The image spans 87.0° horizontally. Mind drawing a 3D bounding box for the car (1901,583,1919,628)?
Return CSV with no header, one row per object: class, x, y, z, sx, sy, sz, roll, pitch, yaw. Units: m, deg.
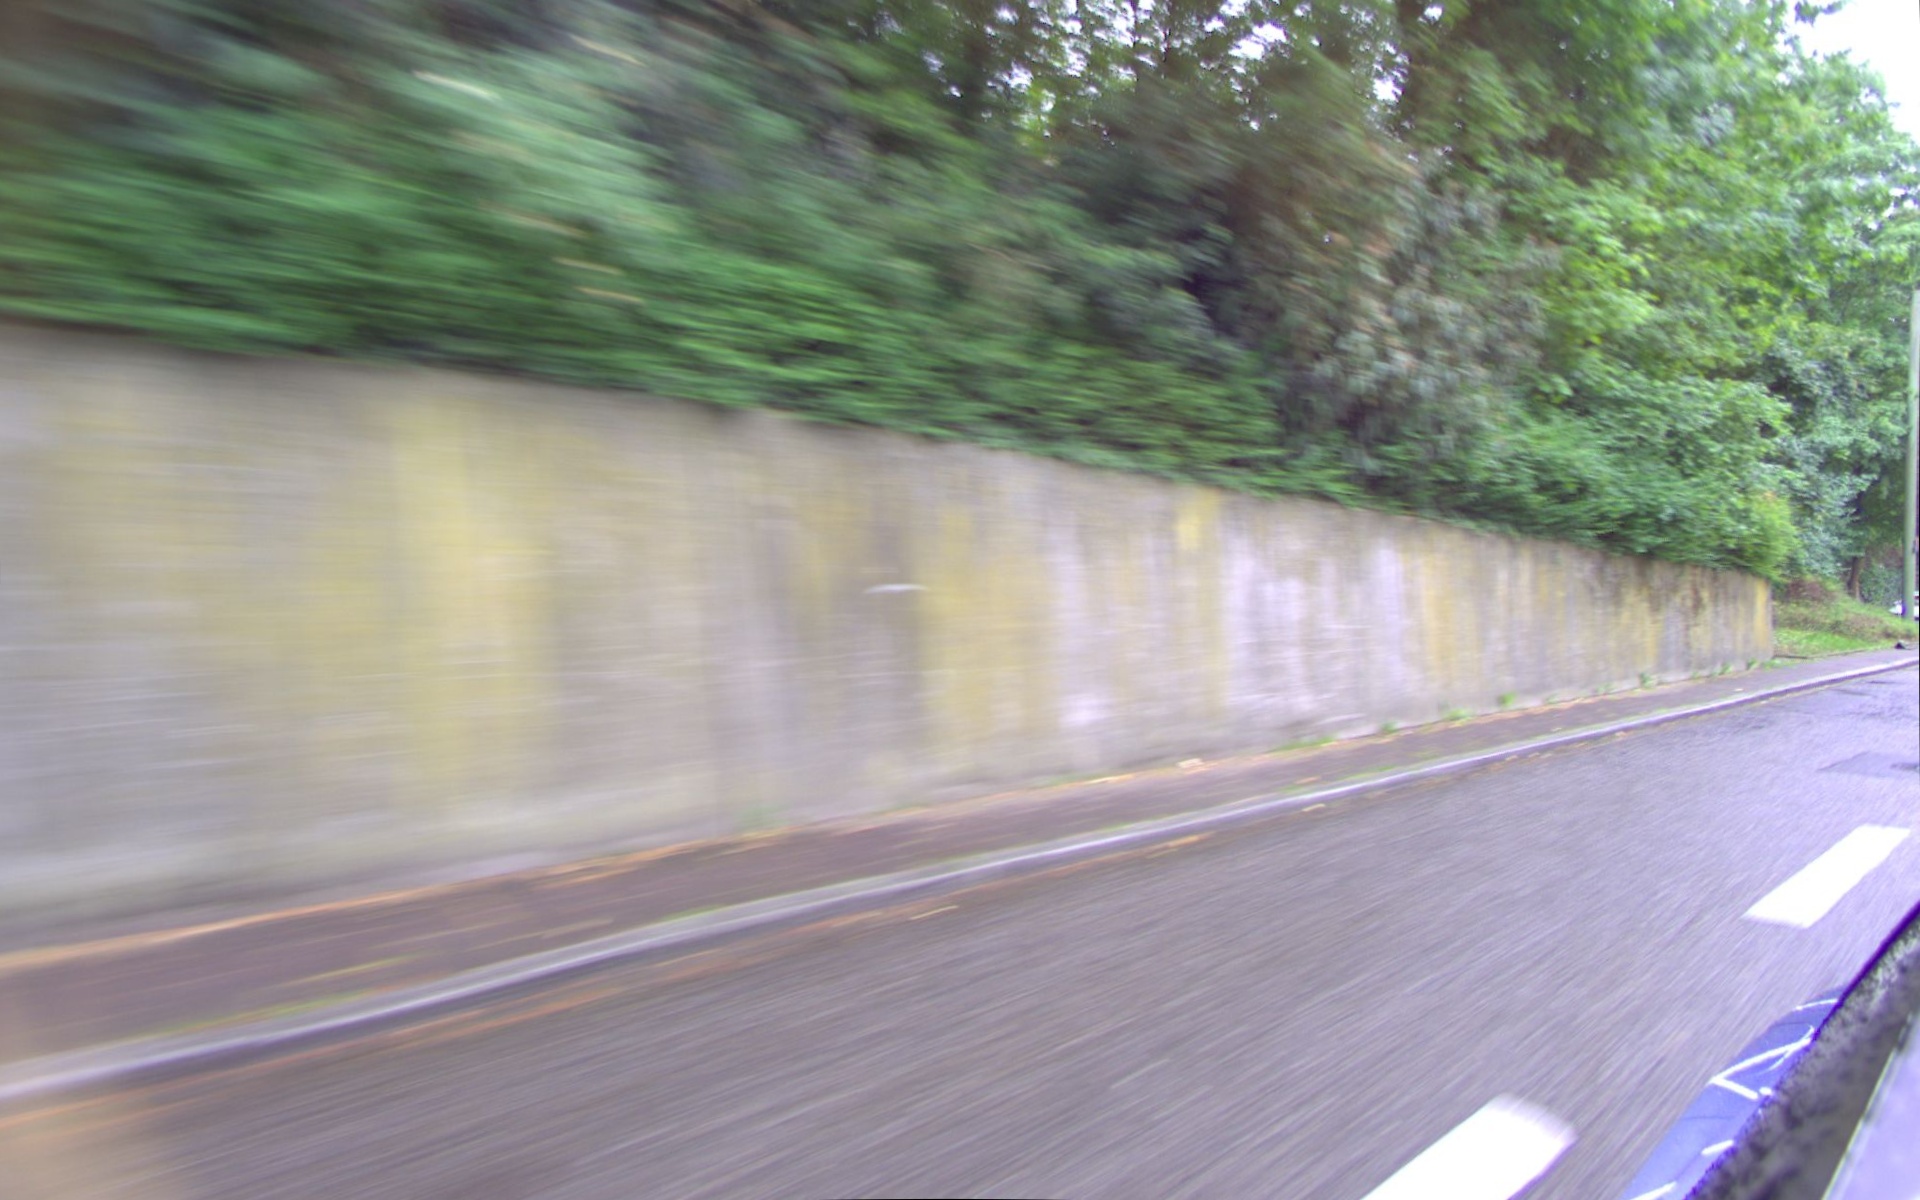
car,34.148,0.206,34.870,4.652,1.495,1.744,0,3,-38
